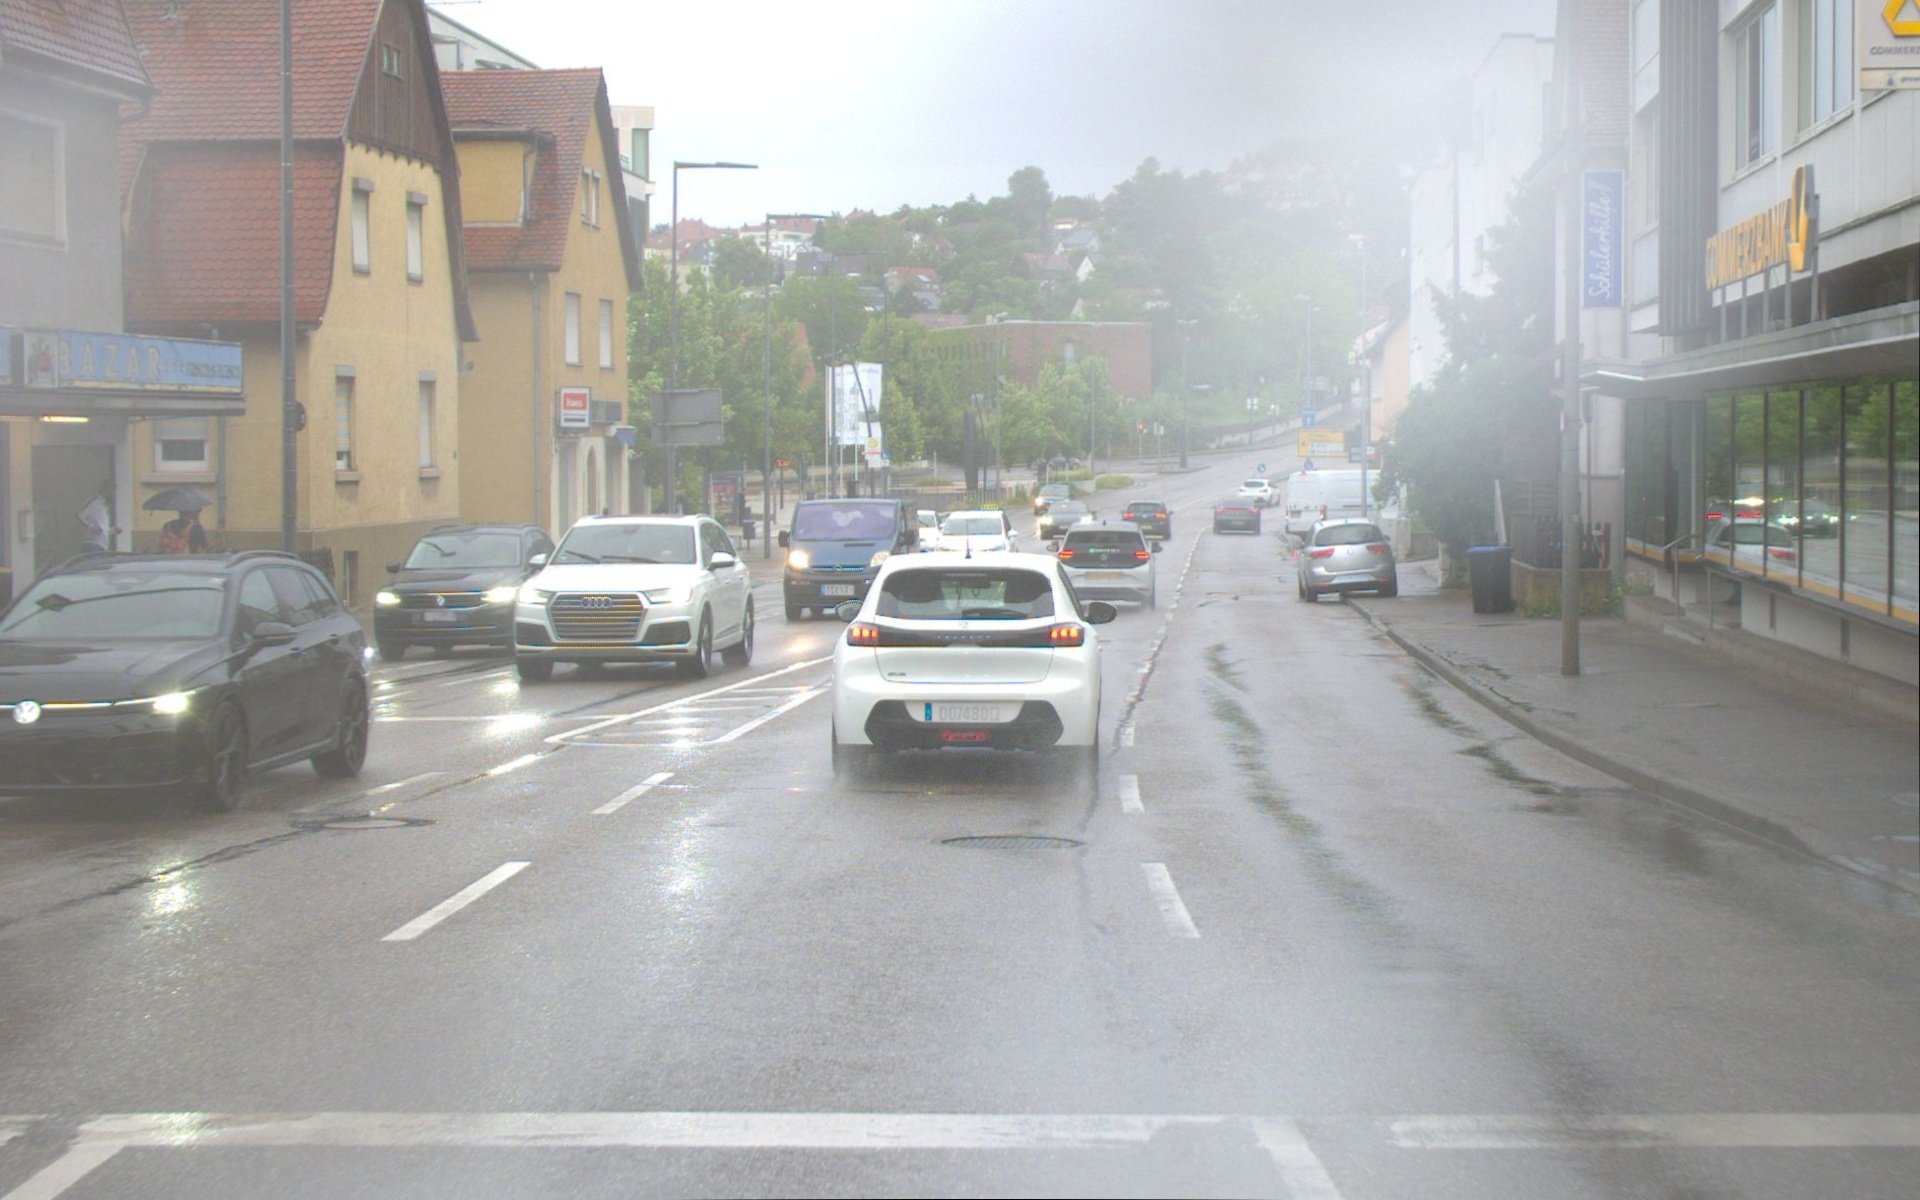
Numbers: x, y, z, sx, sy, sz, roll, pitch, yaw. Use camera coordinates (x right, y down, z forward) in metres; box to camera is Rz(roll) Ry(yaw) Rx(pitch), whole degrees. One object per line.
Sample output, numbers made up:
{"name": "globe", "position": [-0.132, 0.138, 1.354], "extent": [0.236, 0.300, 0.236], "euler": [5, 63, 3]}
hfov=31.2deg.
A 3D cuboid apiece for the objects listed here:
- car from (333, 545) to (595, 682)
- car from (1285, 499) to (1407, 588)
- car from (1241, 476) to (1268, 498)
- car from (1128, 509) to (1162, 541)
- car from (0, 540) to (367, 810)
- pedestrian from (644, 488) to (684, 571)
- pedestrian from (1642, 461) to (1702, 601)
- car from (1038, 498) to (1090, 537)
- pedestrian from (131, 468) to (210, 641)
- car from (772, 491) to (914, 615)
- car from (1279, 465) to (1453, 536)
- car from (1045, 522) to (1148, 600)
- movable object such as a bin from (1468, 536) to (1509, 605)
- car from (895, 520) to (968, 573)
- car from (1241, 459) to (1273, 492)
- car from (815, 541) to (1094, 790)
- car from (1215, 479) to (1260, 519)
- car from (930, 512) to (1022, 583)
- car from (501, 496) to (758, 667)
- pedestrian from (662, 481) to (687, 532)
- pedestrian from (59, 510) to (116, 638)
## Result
{"name": "car", "position": [-6.160, 0.131, 43.318], "extent": [2.001, 1.612, 4.947], "euler": [0, 1, 8]}
{"name": "car", "position": [7.484, -1.071, 66.987], "extent": [2.011, 1.616, 4.360], "euler": [1, 0, 2]}
{"name": "car", "position": [15.803, -6.059, 184.471], "extent": [1.385, 1.122, 2.610], "euler": [0, 1, 5]}
{"name": "car", "position": [6.732, -2.732, 125.060], "extent": [1.213, 1.152, 2.270], "euler": [0, 1, 2]}
{"name": "car", "position": [-4.875, 0.376, 20.530], "extent": [1.758, 1.429, 4.380], "euler": [0, 1, 2]}
{"name": "pedestrian", "position": [-6.436, -1.537, 74.824], "extent": [0.800, 1.782, 0.882], "euler": [0, 1, -1]}
{"name": "pedestrian", "position": [9.183, -0.895, 44.312], "extent": [0.729, 1.774, 0.952], "euler": [1, 3, 12]}
{"name": "car", "position": [3.924, -3.073, 128.688], "extent": [1.768, 1.409, 4.525], "euler": [0, 1, 4]}
{"name": "pedestrian", "position": [-8.922, -0.515, 38.871], "extent": [0.661, 1.914, 0.947], "euler": [2, 1, -3]}
{"name": "car", "position": [-1.870, -0.766, 56.689], "extent": [1.966, 1.931, 5.179], "euler": [0, 1, 2]}
{"name": "car", "position": [14.156, -3.431, 119.549], "extent": [6.607, 2.374, 2.297], "euler": [-1, 1, -44]}
{"name": "car", "position": [2.405, -0.708, 60.244], "extent": [1.741, 1.291, 3.334], "euler": [0, 2, 3]}
{"name": "movable object such as a bin", "position": [8.445, -0.476, 54.959], "extent": [0.576, 1.044, 0.830], "euler": [-1, 3, 4]}
{"name": "car", "position": [-0.812, -1.540, 98.939], "extent": [1.649, 1.413, 4.138], "euler": [-2, 0, 5]}
{"name": "car", "position": [18.922, -7.897, 218.918], "extent": [1.994, 2.007, 3.999], "euler": [0, 1, 5]}
{"name": "car", "position": [0.041, 0.383, 22.969], "extent": [1.691, 1.514, 3.933], "euler": [0, 0, 3]}
{"name": "car", "position": [11.224, -4.093, 139.189], "extent": [1.734, 1.383, 3.353], "euler": [1, 5, 3]}
{"name": "car", "position": [0.404, -1.230, 80.938], "extent": [1.878, 1.603, 4.718], "euler": [0, 1, 4]}
{"name": "car", "position": [-3.454, -0.214, 36.855], "extent": [2.098, 1.706, 4.849], "euler": [0, 1, 2]}
{"name": "pedestrian", "position": [-9.833, -3.228, 118.482], "extent": [0.808, 1.732, 1.003], "euler": [0, 1, -2]}
{"name": "pedestrian", "position": [-10.655, -0.318, 42.000], "extent": [0.543, 1.552, 0.446], "euler": [0, 1, 5]}
